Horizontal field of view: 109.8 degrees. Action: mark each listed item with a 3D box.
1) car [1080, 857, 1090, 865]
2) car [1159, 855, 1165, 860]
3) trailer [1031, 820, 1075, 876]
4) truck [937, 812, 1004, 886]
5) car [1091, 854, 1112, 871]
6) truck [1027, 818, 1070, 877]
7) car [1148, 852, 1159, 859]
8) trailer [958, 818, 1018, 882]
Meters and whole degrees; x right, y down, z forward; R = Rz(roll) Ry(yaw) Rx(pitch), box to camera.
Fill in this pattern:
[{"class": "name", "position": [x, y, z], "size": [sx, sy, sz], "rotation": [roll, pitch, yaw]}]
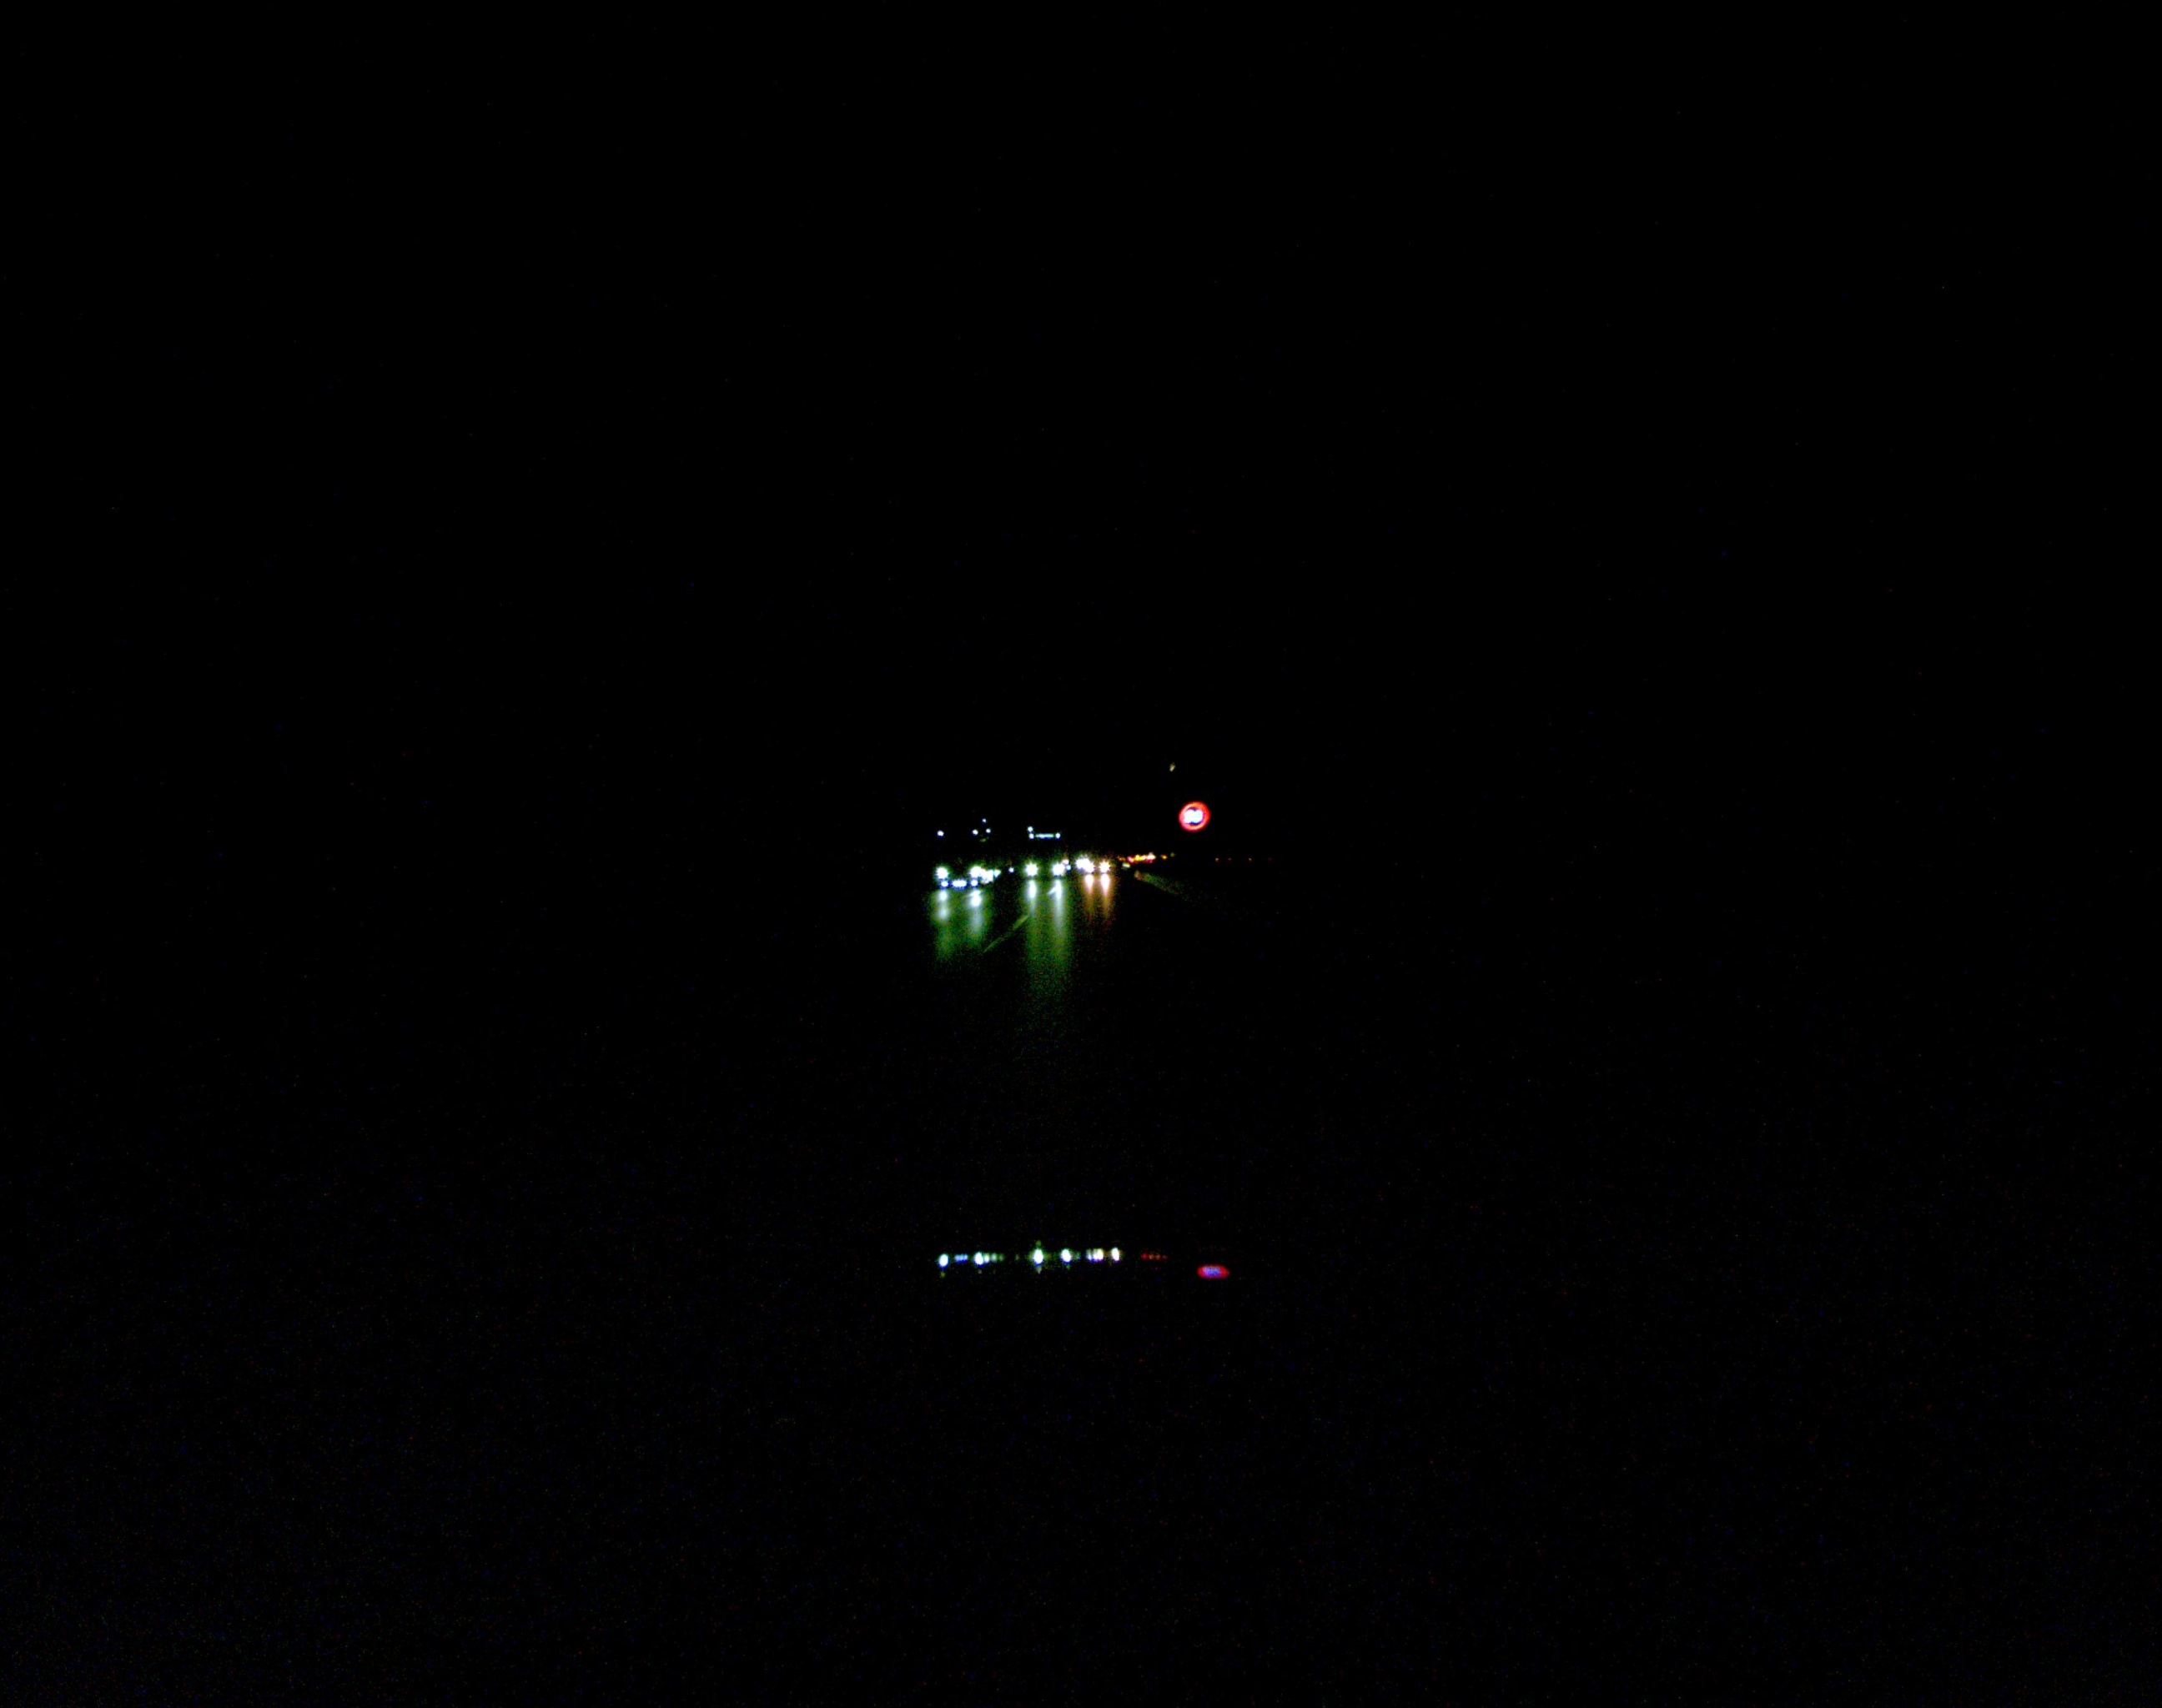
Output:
[{"class": "car", "position": [1.059, 1.749, 196.712], "size": [2.266, 1.841, 5.404], "rotation": [-2, 0, 1]}, {"class": "car", "position": [24.894, 1.072, 234.108], "size": [1.665, 1.326, 4.811], "rotation": [1, 0, 3]}, {"class": "trailer", "position": [-2.235, -0.457, 65.382], "size": [2.749, 4.181, 13.511], "rotation": [-2, 0, 1]}, {"class": "truck", "position": [-6.603, -0.264, 46.464], "size": [2.597, 4.048, 7.674], "rotation": [-2, 0, 1]}, {"class": "car", "position": [1.891, 0.741, 70.571], "size": [1.825, 1.457, 4.248], "rotation": [-2, 0, 1]}, {"class": "truck", "position": [-2.376, -0.451, 58.309], "size": [2.668, 4.182, 6.723], "rotation": [-2, 0, 1]}, {"class": "car", "position": [15.385, 0.377, 161.875], "size": [1.755, 1.470, 4.582], "rotation": [1, 0, 0]}, {"class": "trailer", "position": [-6.434, -0.252, 53.971], "size": [2.597, 4.048, 10.009], "rotation": [-2, 0, 1]}]
